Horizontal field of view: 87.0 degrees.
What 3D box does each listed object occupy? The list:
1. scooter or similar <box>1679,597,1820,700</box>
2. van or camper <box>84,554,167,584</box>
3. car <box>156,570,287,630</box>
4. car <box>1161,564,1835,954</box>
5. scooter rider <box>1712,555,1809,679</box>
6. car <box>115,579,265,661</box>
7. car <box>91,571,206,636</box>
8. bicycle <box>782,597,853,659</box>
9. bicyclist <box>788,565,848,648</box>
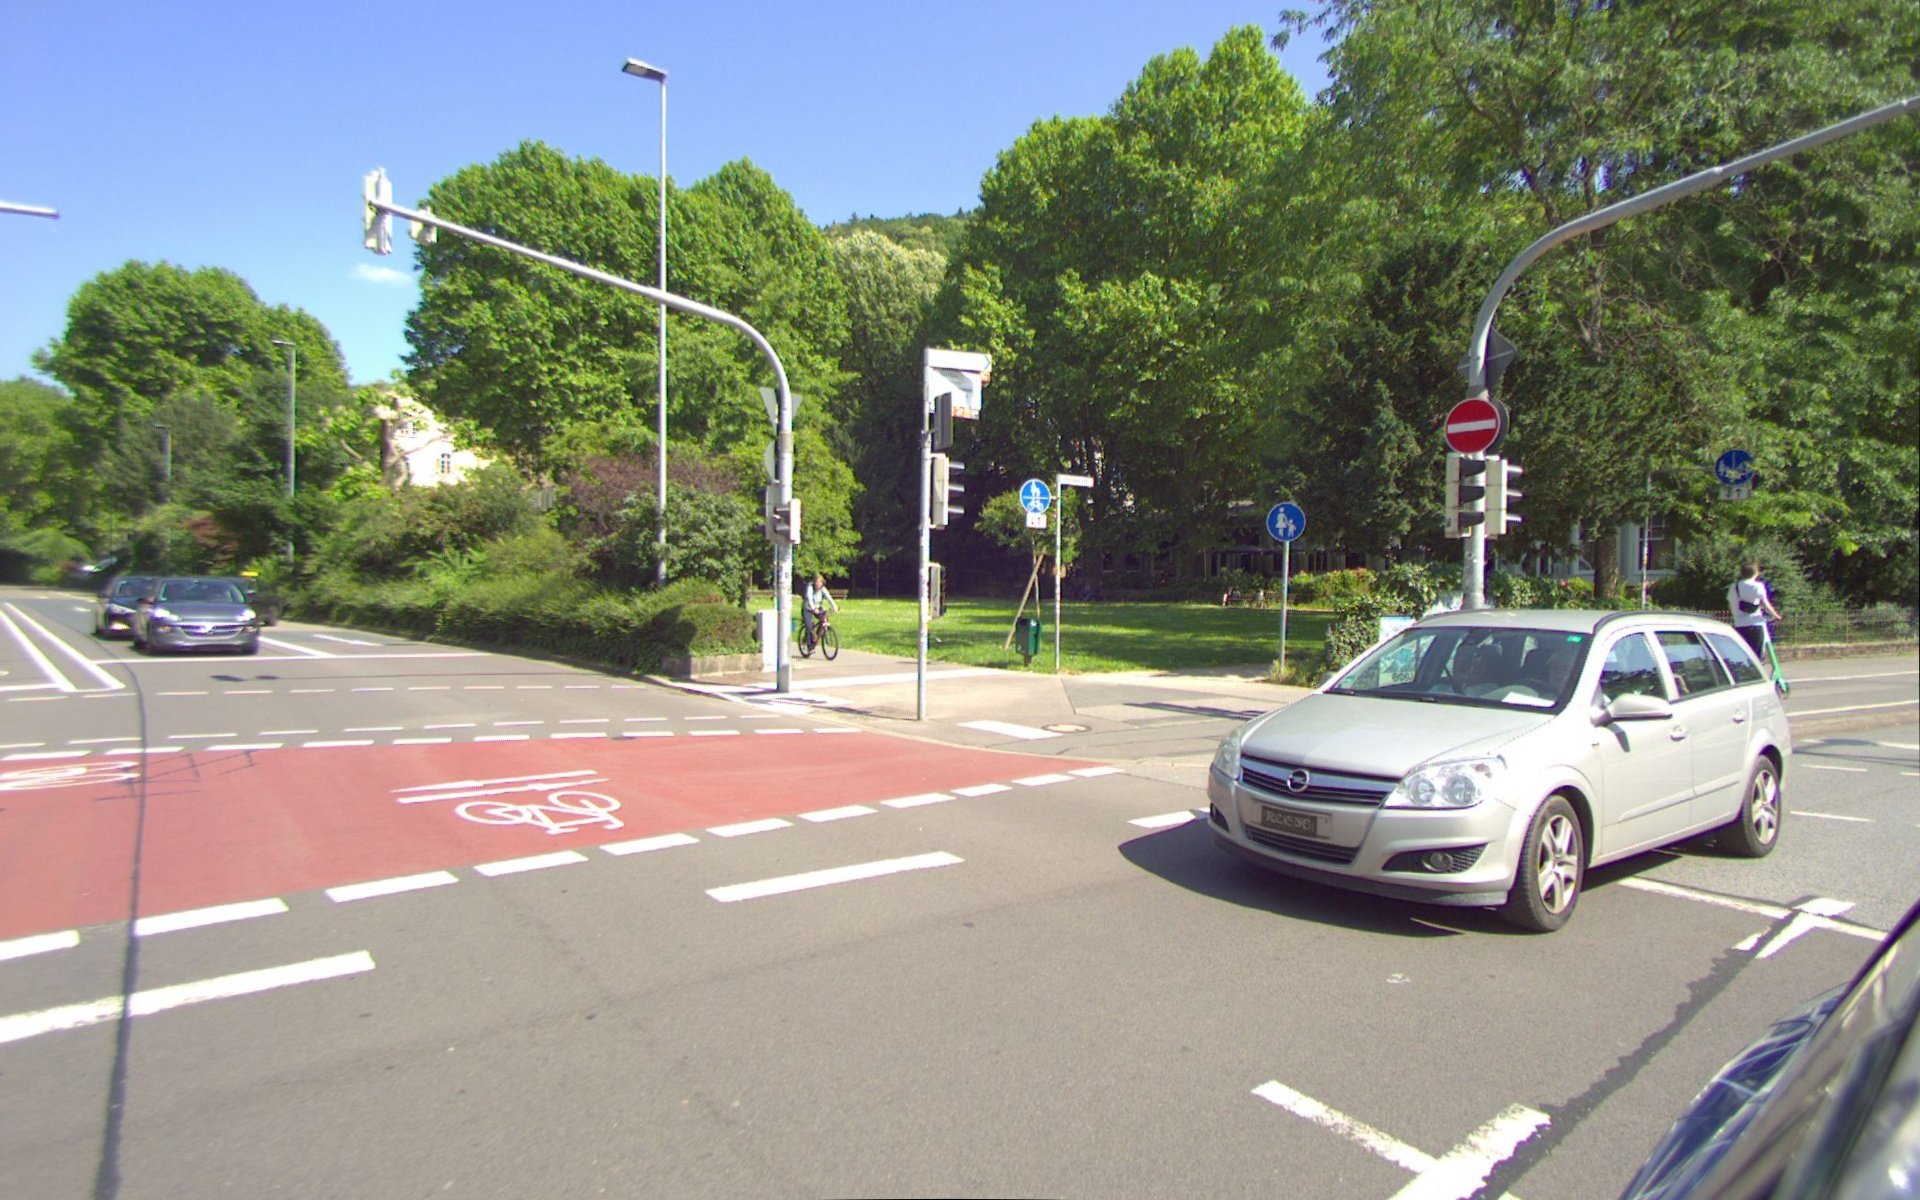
[{"bbox_3d":[11.121,0.650,14.259,1.661,1.314,0.823,-1,2,-21],"label":"scooter or similar"},{"bbox_3d":[-80.834,-2.985,98.106,5.800,2.940,2.388,0,1,-7],"label":"van or camper"},{"bbox_3d":[-21.549,-0.029,29.759,2.021,1.603,4.755,0,0,-22],"label":"car"},{"bbox_3d":[3.333,0.606,5.943,4.322,1.541,1.713,0,1,-35],"label":"car"},{"bbox_3d":[11.324,0.213,14.335,0.694,1.692,0.825,-1,2,-21],"label":"scooter rider"},{"bbox_3d":[-15.071,0.319,19.731,1.829,1.380,4.087,1,1,-44],"label":"car"},{"bbox_3d":[-19.140,0.047,23.803,1.828,1.380,4.089,1,1,-43],"label":"car"},{"bbox_3d":[-2.863,0.536,20.242,0.769,1.134,1.678,-1,2,-34],"label":"bicycle"},{"bbox_3d":[-2.834,0.102,20.165,0.851,1.594,0.943,-2,2,-35],"label":"bicyclist"}]
